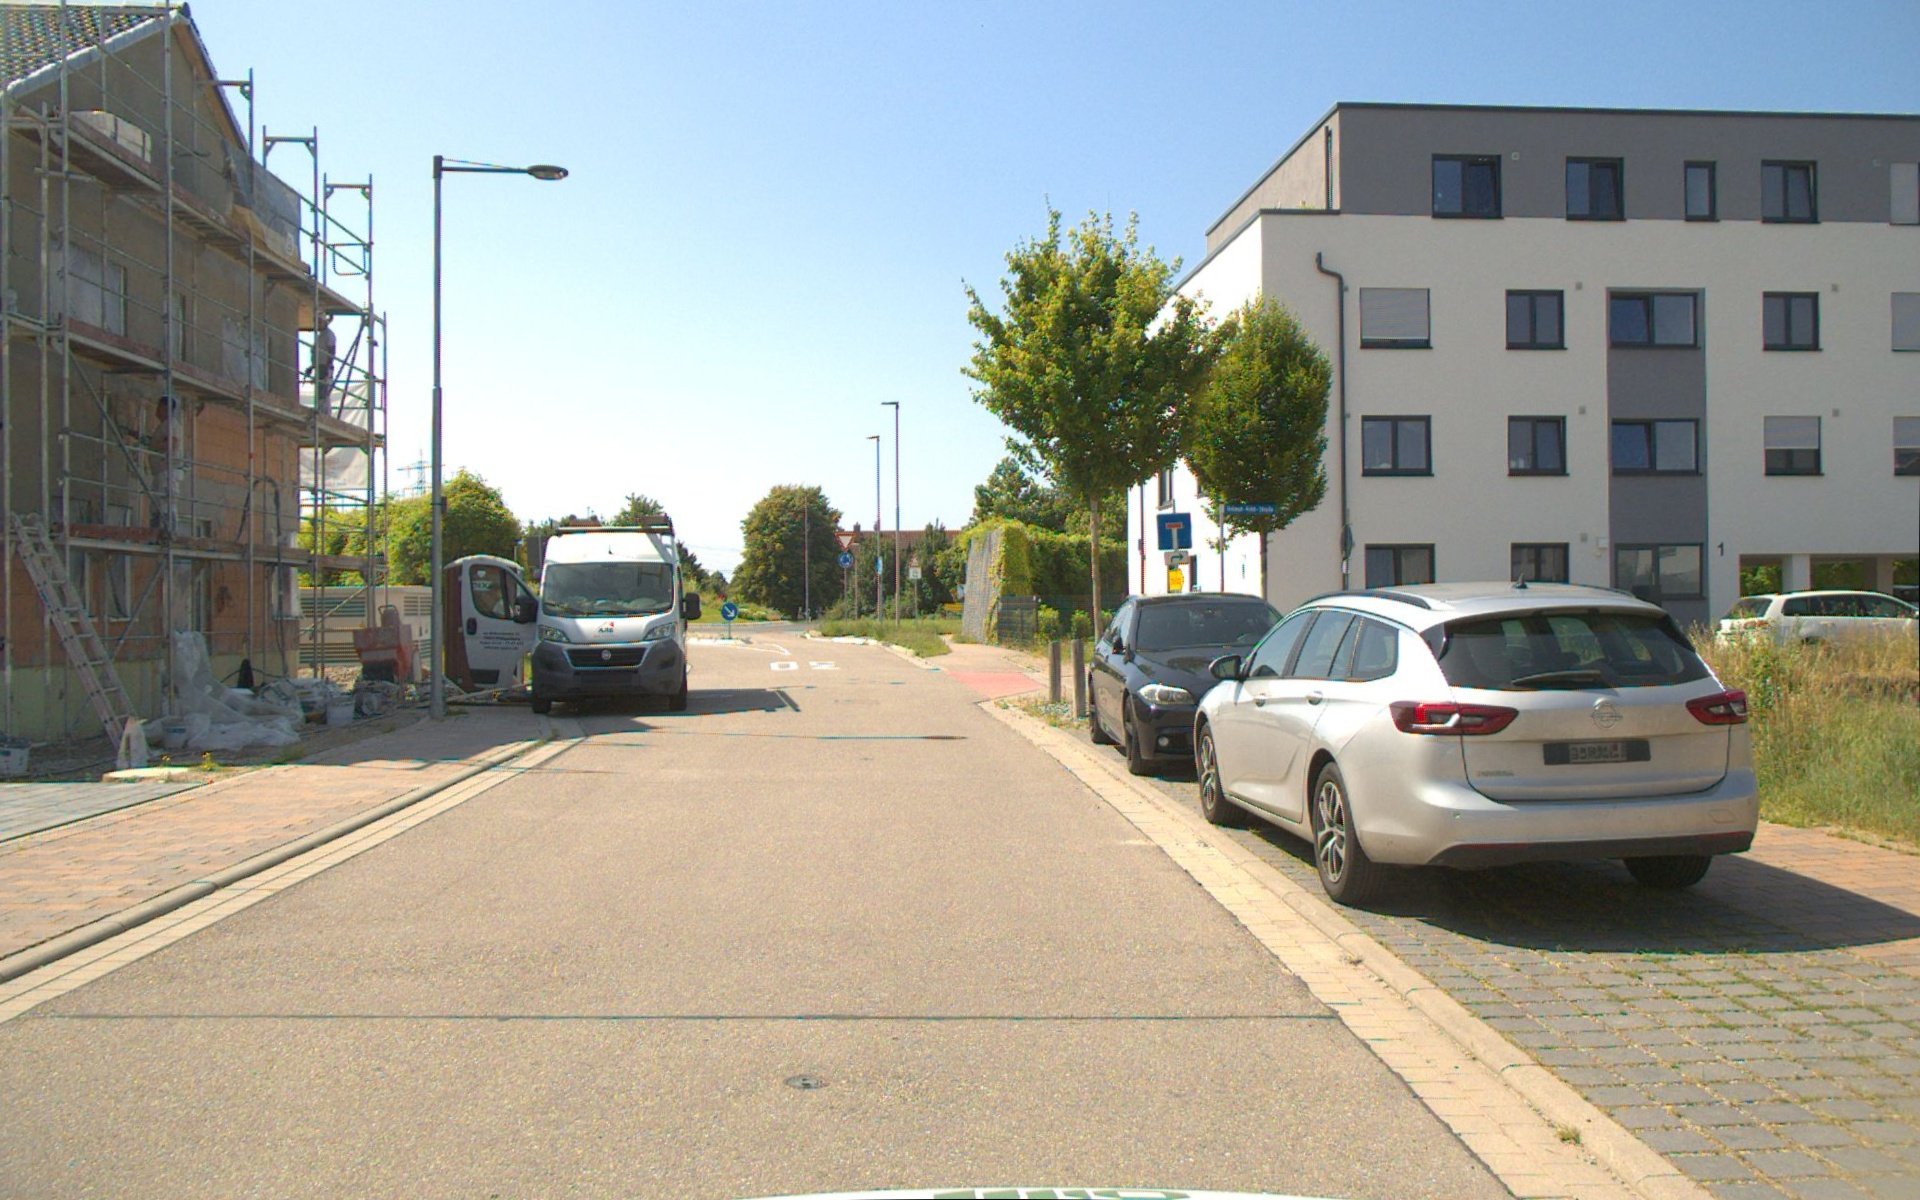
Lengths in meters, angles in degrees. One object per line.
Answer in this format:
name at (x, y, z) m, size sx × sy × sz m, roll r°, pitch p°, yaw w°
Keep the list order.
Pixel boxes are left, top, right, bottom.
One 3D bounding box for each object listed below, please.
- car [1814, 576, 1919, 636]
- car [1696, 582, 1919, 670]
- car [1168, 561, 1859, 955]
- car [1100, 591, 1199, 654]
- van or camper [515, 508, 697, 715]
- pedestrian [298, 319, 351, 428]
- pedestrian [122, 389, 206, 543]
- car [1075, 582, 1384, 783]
car at (24.886, 0.167, 44.377) m, size 1.839 × 1.529 × 3.675 m, roll -1°, pitch -1°, yaw -4°
car at (15.469, 0.448, 29.260) m, size 4.077 × 1.461 × 1.880 m, roll -1°, pitch -1°, yaw -5°
car at (2.620, 0.616, 9.438) m, size 1.880 × 1.537 × 5.291 m, roll -2°, pitch 1°, yaw -3°
car at (4.762, 0.532, 42.070) m, size 1.645 × 1.495 × 4.111 m, roll 0°, pitch 0°, yaw -6°
van or camper at (-5.006, 0.179, 24.187) m, size 2.231 × 2.598 × 6.353 m, roll -1°, pitch -1°, yaw -9°
pedestrian at (-9.773, -3.464, 25.439) m, size 0.558 × 1.526 × 0.737 m, roll 1°, pitch -3°, yaw -40°
pedestrian at (-9.352, -1.559, 19.429) m, size 0.568 × 1.709 × 0.743 m, roll -3°, pitch -3°, yaw 44°
car at (2.287, 0.614, 15.495) m, size 1.880 × 1.495 × 5.138 m, roll -2°, pitch 1°, yaw -2°
